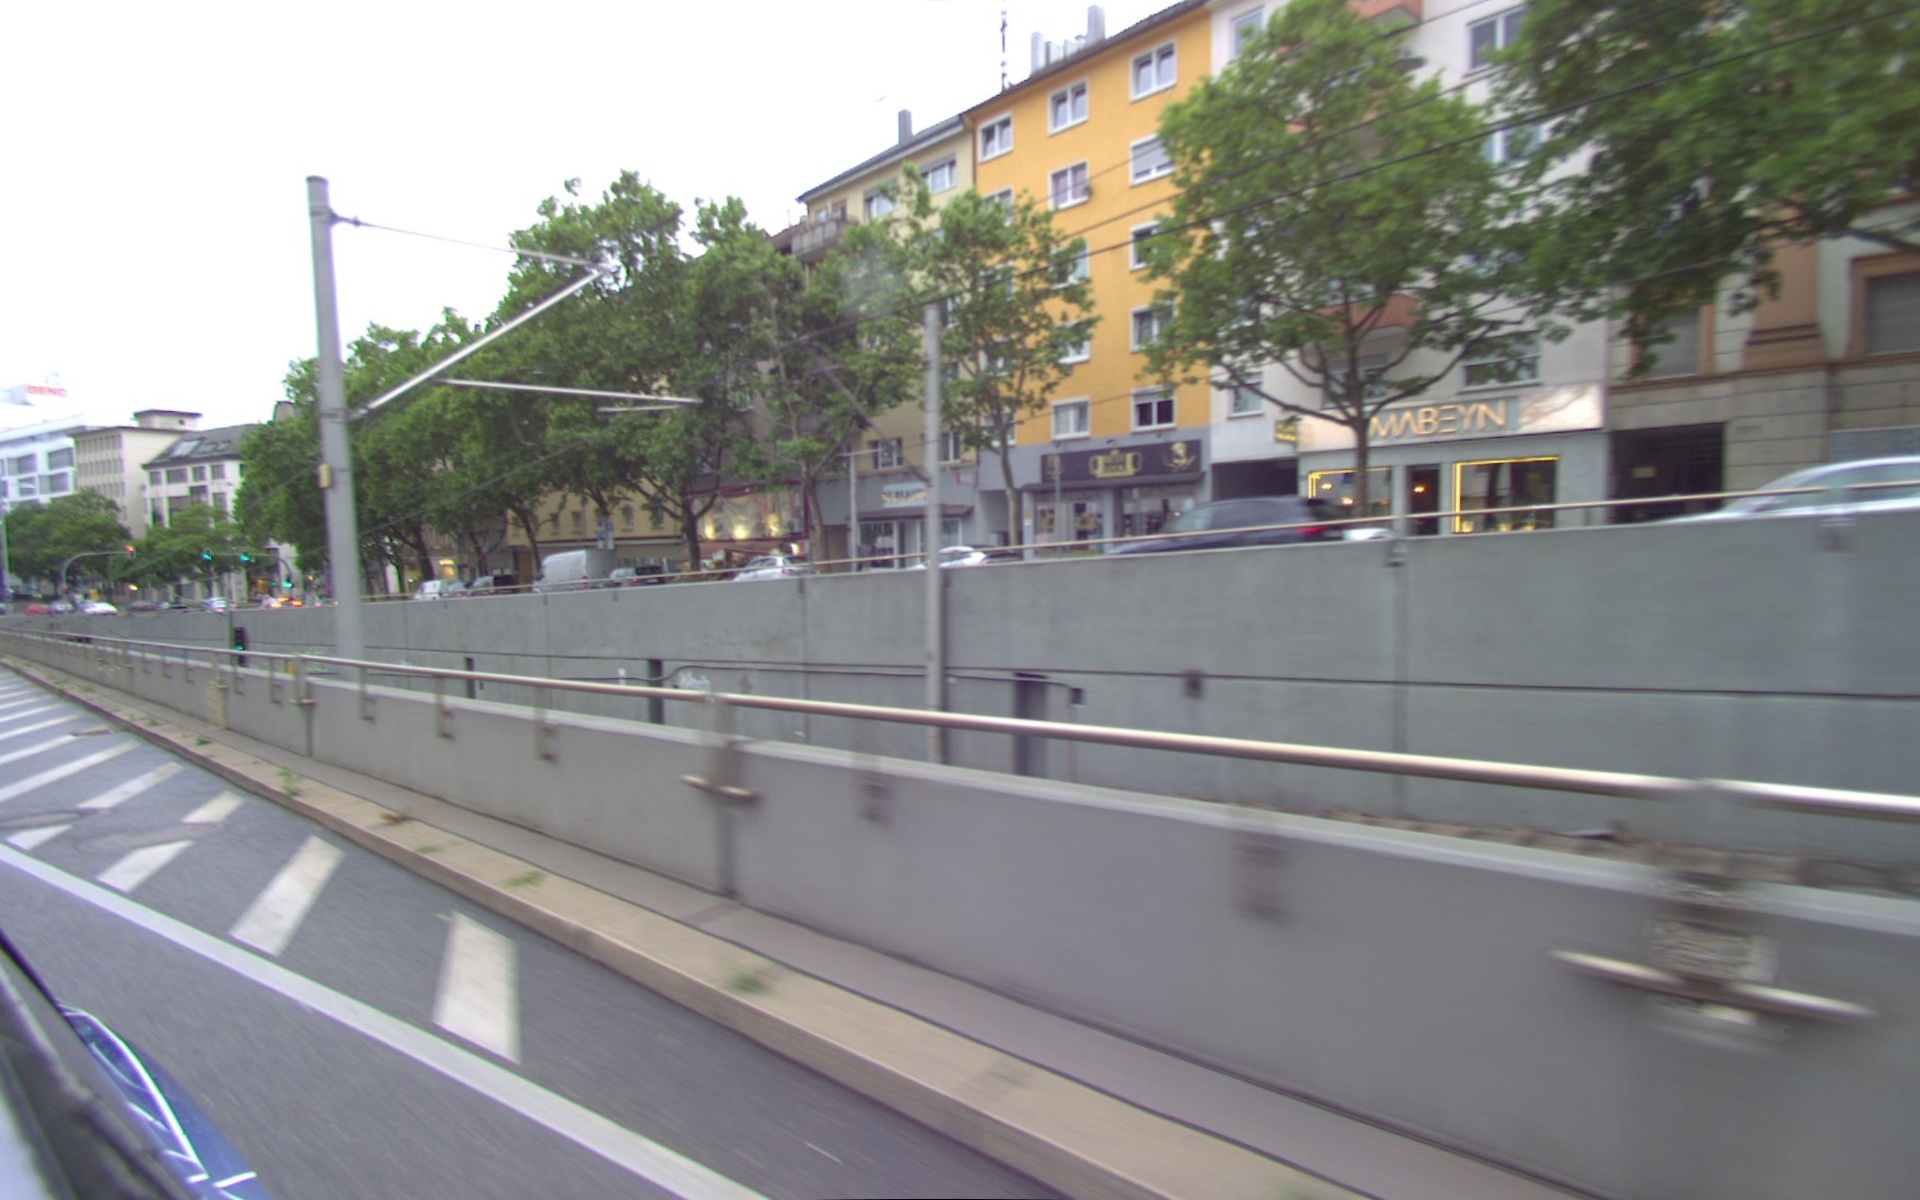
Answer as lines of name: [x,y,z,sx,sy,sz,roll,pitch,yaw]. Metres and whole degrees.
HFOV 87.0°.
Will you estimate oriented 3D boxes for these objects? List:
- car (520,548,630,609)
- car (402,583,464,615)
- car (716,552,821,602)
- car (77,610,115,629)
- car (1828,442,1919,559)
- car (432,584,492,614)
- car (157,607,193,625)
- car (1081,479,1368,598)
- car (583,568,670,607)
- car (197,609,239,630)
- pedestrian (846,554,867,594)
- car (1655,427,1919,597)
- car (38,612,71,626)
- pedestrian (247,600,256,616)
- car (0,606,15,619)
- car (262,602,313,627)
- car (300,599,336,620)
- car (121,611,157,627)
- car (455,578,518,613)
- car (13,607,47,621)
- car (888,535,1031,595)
car: [-19.474,-1.029,50.986,2.425,2.681,6.935,-6,3,-44]
car: [-34.696,-0.055,66.534,4.899,1.777,1.858,-2,3,41]
car: [-7.263,-0.842,38.151,1.774,1.582,4.210,-6,3,-44]
car: [-92.490,2.084,108.314,4.719,1.783,1.780,-1,3,34]
car: [15.156,-1.556,14.400,4.114,1.623,1.775,-2,3,45]
car: [-30.790,-0.070,62.520,4.474,1.595,1.857,-2,3,44]
car: [-75.055,1.541,96.769,4.340,1.521,1.777,-1,3,40]
car: [4.928,-1.113,19.453,1.934,1.866,4.972,-6,3,-44]
car: [-15.273,-0.558,46.199,1.774,1.521,4.674,-6,3,-44]
car: [-63.966,1.703,87.257,4.819,1.521,1.828,-2,3,41]
pedestrian: [-4.707,-1.196,45.913,0.516,1.760,0.623,-8,5,-37]
car: [9.509,-0.916,10.092,4.000,1.521,1.775,-2,3,43]
car: [-110.015,2.325,122.934,3.983,1.521,1.783,-2,3,29]
pedestrian: [-82.892,0.899,118.340,0.525,1.797,0.597,-1,4,36]
car: [-119.619,1.585,125.777,4.814,1.569,1.783,-2,3,29]
car: [-47.116,1.030,70.844,2.004,1.521,4.886,-6,3,-44]
car: [-53.739,0.782,84.682,1.825,1.521,4.021,-6,3,-42]
car: [-90.145,2.095,111.126,3.985,1.521,1.782,-2,4,31]
car: [-27.590,-0.241,58.923,4.206,1.741,1.775,-2,3,43]
car: [-108.086,1.604,117.606,3.862,1.411,1.575,-2,3,28]
car: [-0.079,-1.026,30.401,1.774,1.521,4.210,-6,3,-44]
